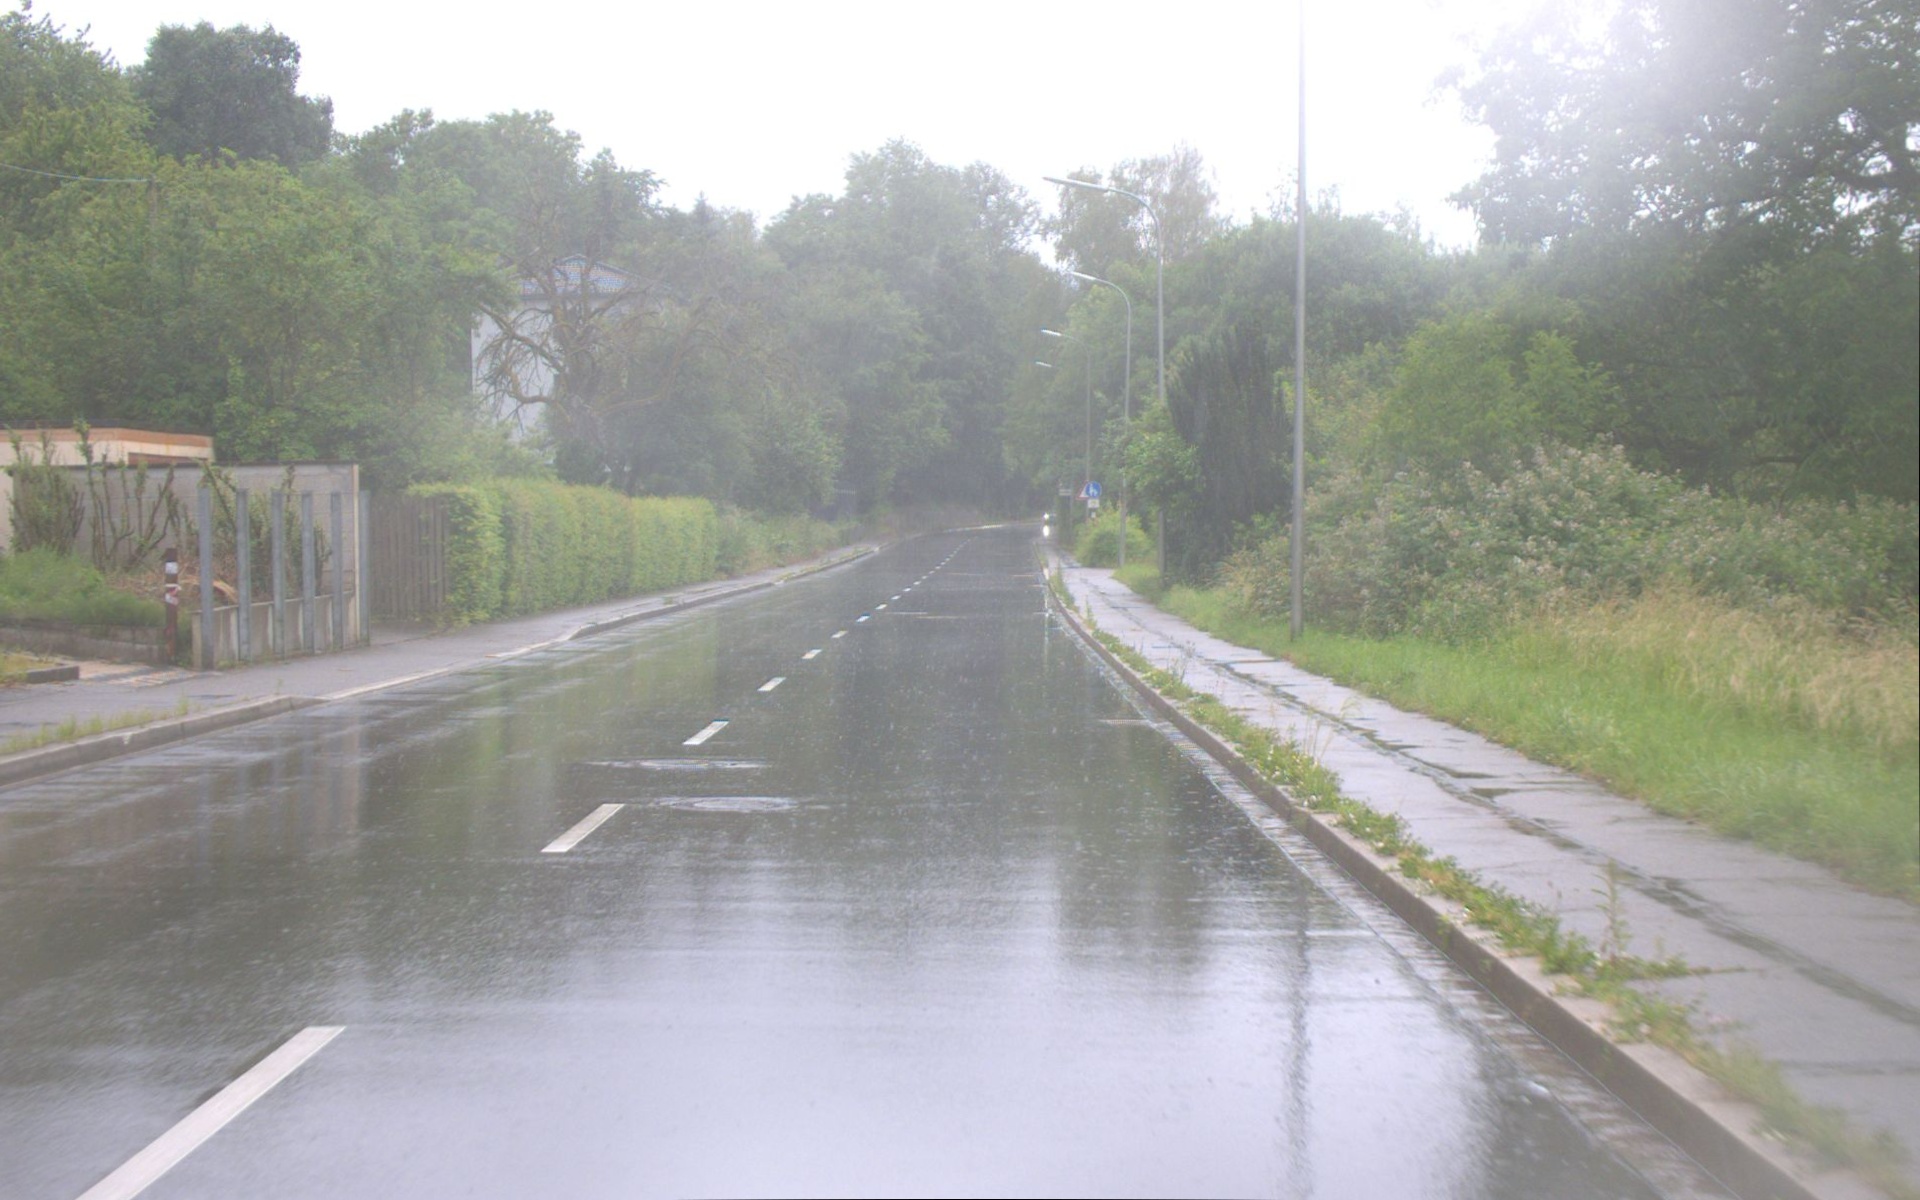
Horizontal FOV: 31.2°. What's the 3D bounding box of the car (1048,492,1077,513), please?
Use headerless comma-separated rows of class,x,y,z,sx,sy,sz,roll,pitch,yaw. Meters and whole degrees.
car,7.516,-7.134,252.171,1.993,1.449,4.428,1,2,1
